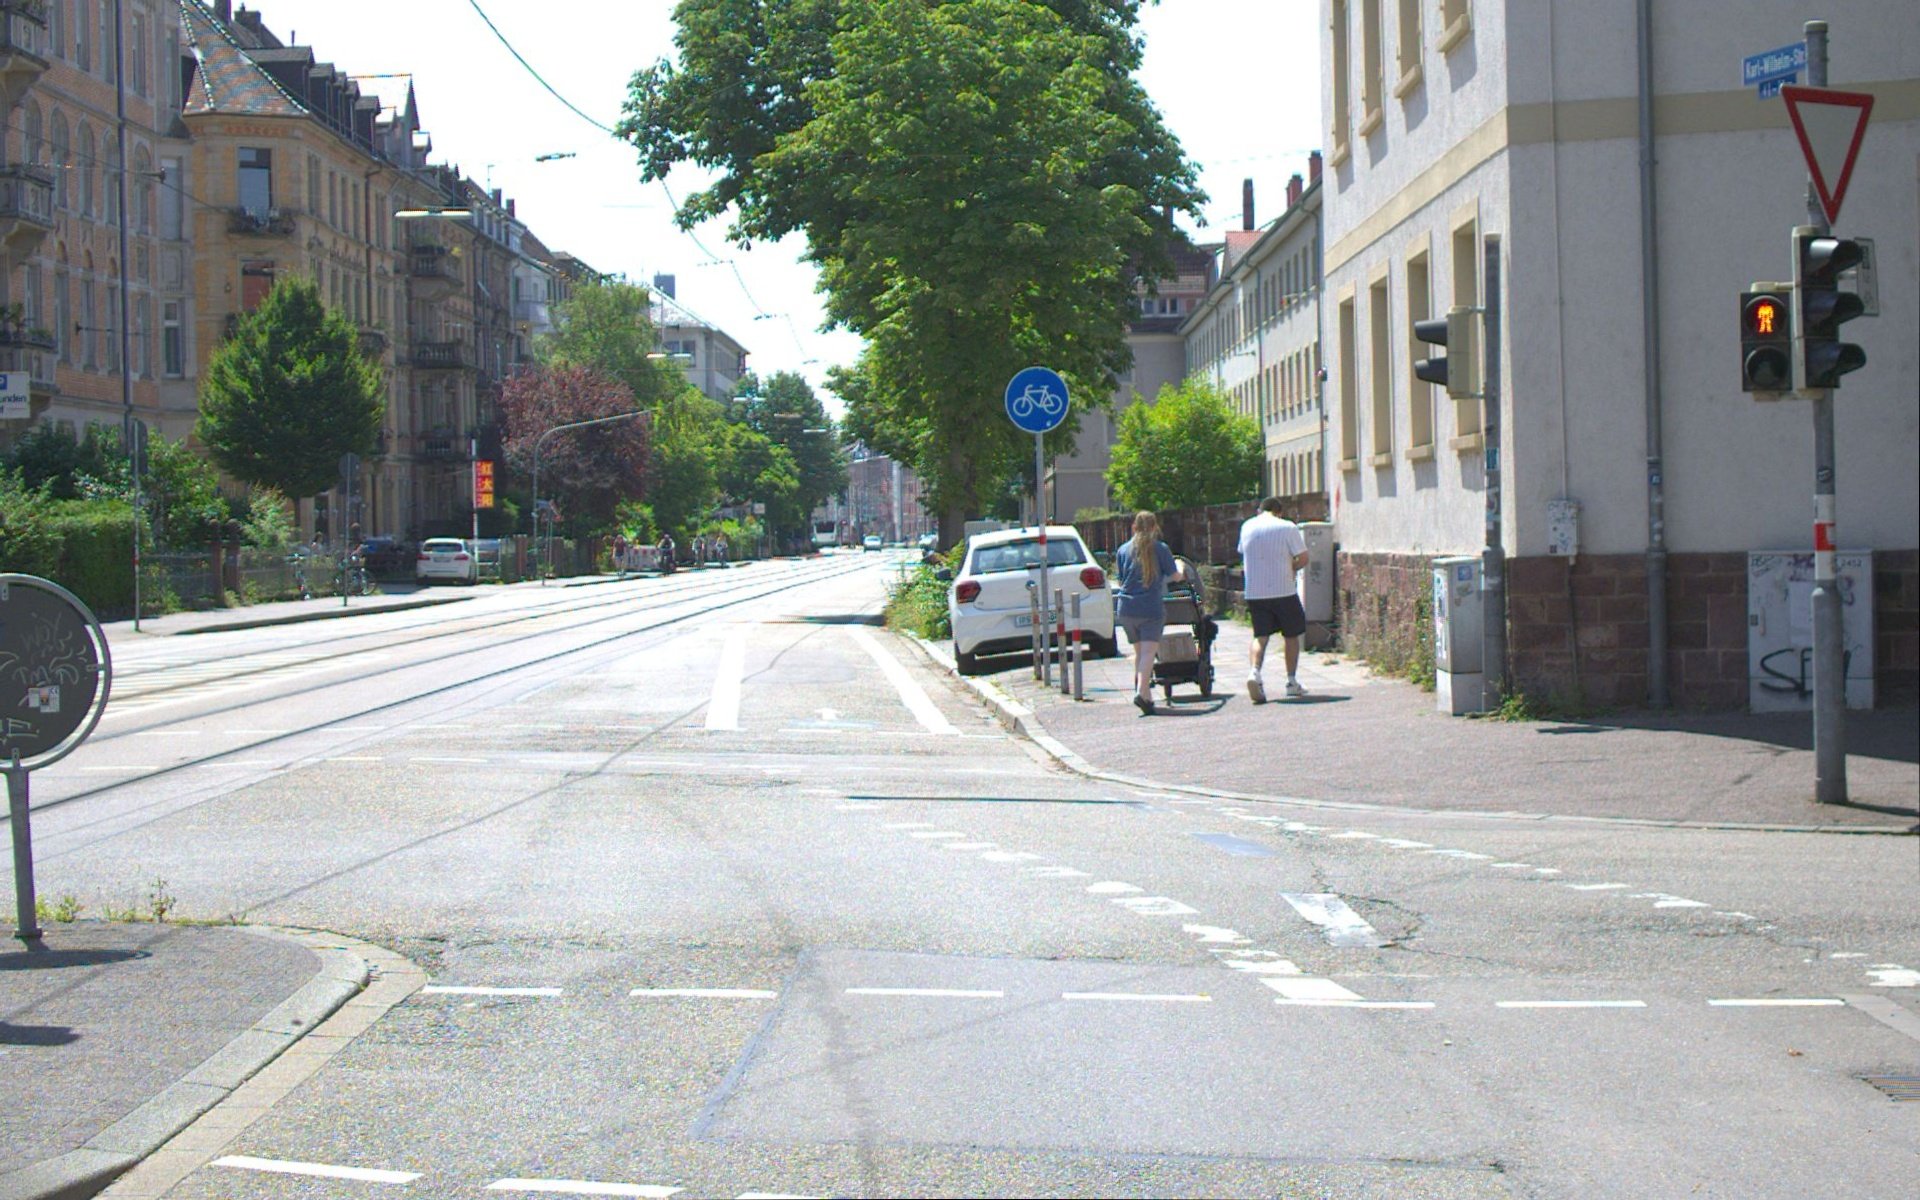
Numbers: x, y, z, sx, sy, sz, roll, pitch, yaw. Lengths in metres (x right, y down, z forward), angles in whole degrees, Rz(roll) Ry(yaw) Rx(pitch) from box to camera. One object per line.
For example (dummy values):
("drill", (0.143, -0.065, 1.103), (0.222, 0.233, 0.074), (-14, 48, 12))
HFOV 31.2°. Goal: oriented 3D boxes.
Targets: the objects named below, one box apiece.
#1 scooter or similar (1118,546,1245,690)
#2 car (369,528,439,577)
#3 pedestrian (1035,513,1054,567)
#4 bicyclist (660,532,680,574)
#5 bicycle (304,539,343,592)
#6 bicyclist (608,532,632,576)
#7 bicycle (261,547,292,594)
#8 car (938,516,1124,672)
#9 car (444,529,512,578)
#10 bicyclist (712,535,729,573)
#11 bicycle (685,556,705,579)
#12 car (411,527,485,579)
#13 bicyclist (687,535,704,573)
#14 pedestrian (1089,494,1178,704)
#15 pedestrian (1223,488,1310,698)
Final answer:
("scooter or similar", (1.822, 0.143, 28.198), (0.557, 1.151, 1.203), (1, 1, 30))
("car", (-20.024, -1.702, 123.902), (1.919, 1.709, 4.000), (1, 1, -1))
("pedestrian", (2.488, -1.772, 101.205), (0.521, 1.557, 0.573), (-1, 1, -1))
("bicyclist", (-12.202, -1.965, 144.571), (0.727, 1.762, 1.079), (1, 0, 1))
("bicycle", (-15.665, -0.852, 84.668), (0.677, 1.274, 1.919), (-1, 1, -3))
("bicyclist", (-12.547, -1.692, 126.929), (0.727, 1.623, 1.079), (1, 0, 1))
("bicycle", (-15.908, -0.702, 80.026), (0.677, 1.061, 1.919), (-1, 1, -11))
("car", (0.717, -0.085, 37.321), (1.815, 1.511, 4.000), (-3, 1, -1))
("car", (-17.337, -1.664, 123.829), (1.919, 1.709, 4.000), (1, 1, -1))
("bicyclist", (-11.555, -2.212, 165.752), (0.727, 1.812, 1.079), (1, 0, 1))
("bicycle", (-12.768, -1.560, 165.733), (0.727, 1.119, 2.085), (1, 1, 1))
("car", (-17.194, -1.579, 115.565), (1.919, 1.709, 4.000), (1, 1, -1))
("bicyclist", (-12.750, -2.205, 165.768), (0.727, 1.812, 1.079), (1, 0, 1))
("pedestrian", (1.384, -0.012, 27.348), (0.557, 1.640, 0.676), (1, 0, 16))
("pedestrian", (2.443, -0.058, 27.386), (0.557, 1.640, 0.676), (1, 0, 16))
